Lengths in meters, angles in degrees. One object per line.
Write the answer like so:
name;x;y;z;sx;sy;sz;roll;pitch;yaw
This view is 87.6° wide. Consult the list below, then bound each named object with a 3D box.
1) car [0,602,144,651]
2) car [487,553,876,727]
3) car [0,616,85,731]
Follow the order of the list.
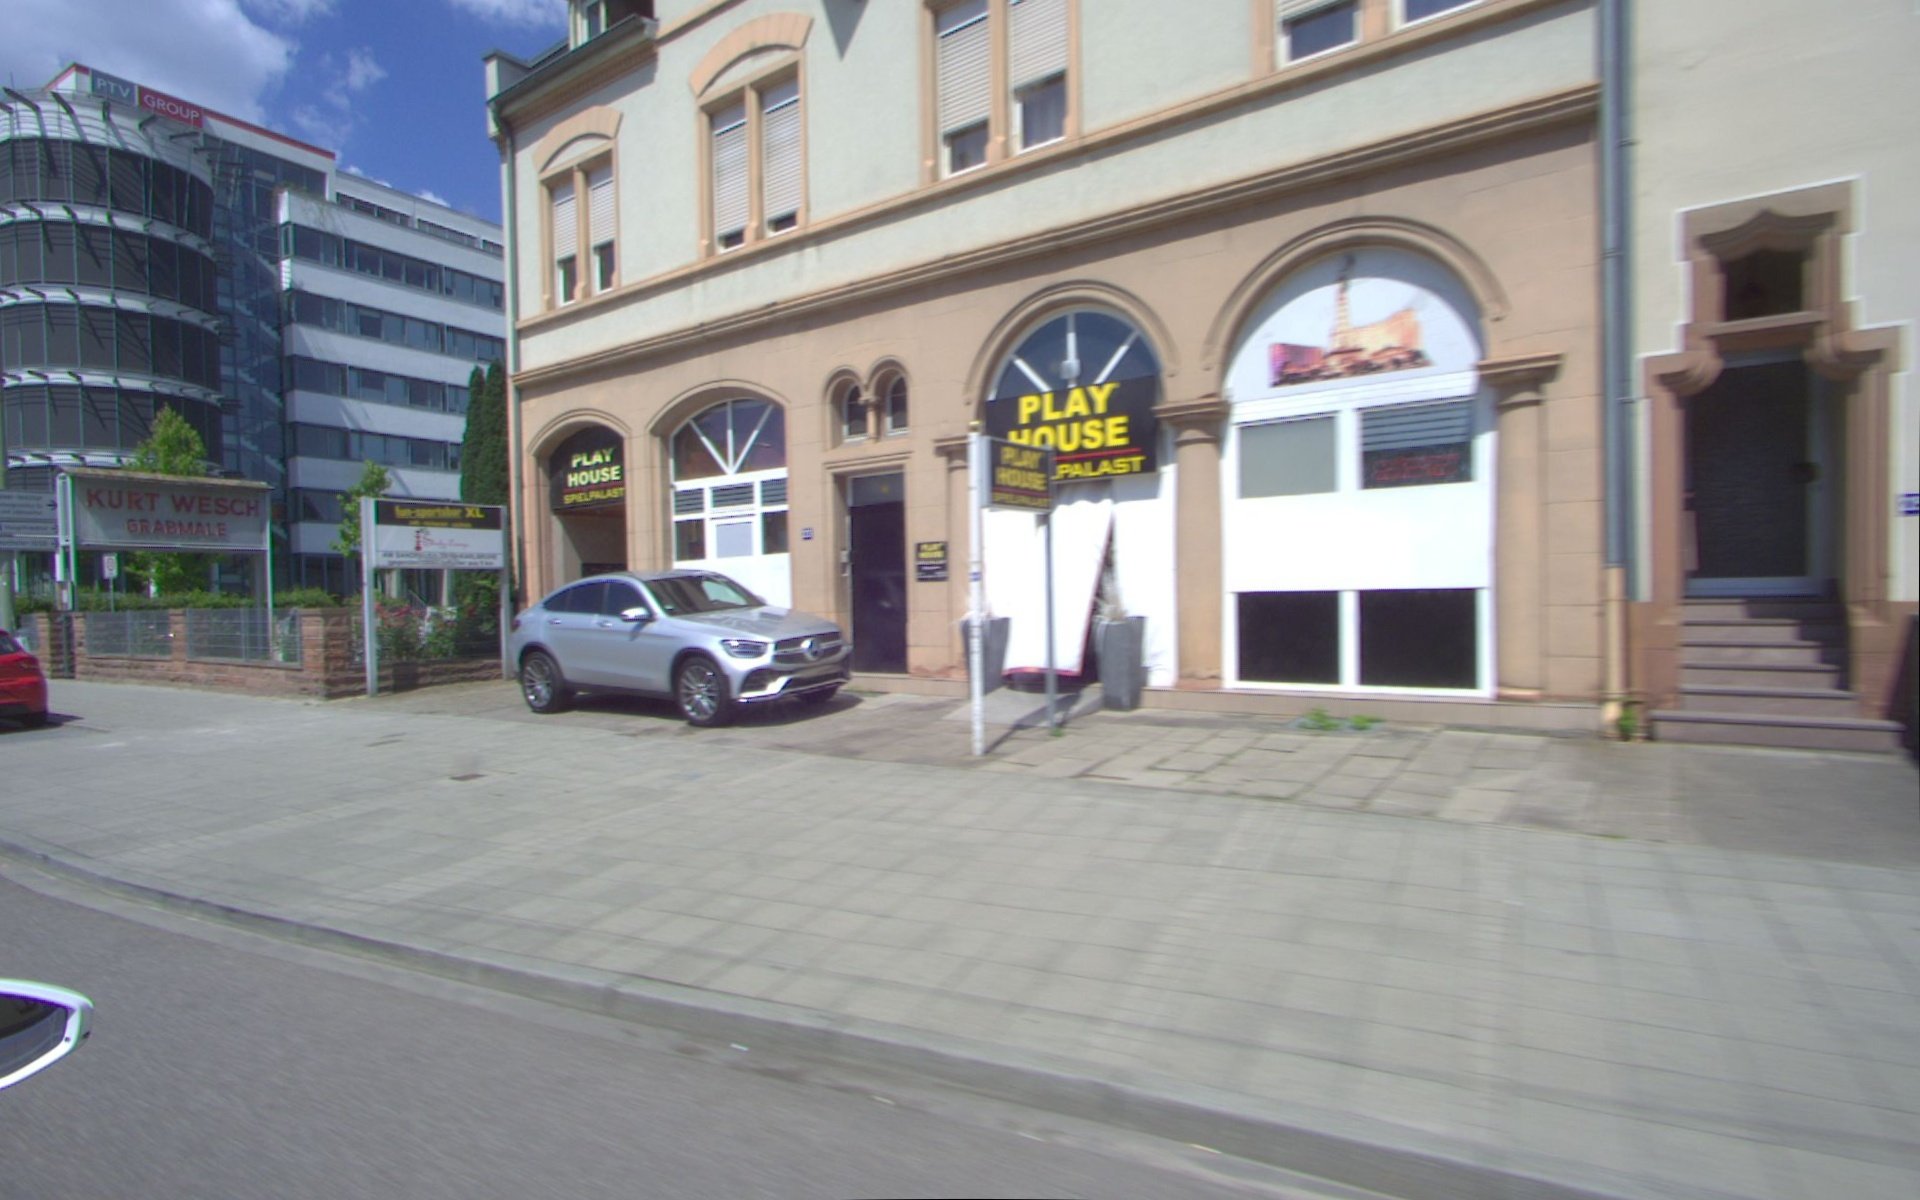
car;-29.198;0.834;32.713;1.733;1.470;3.593;0;0;32
car;-3.370;0.379;11.735;4.577;1.647;1.871;-1;3;35
car;-14.101;0.981;13.922;3.962;1.461;1.988;-1;1;34
